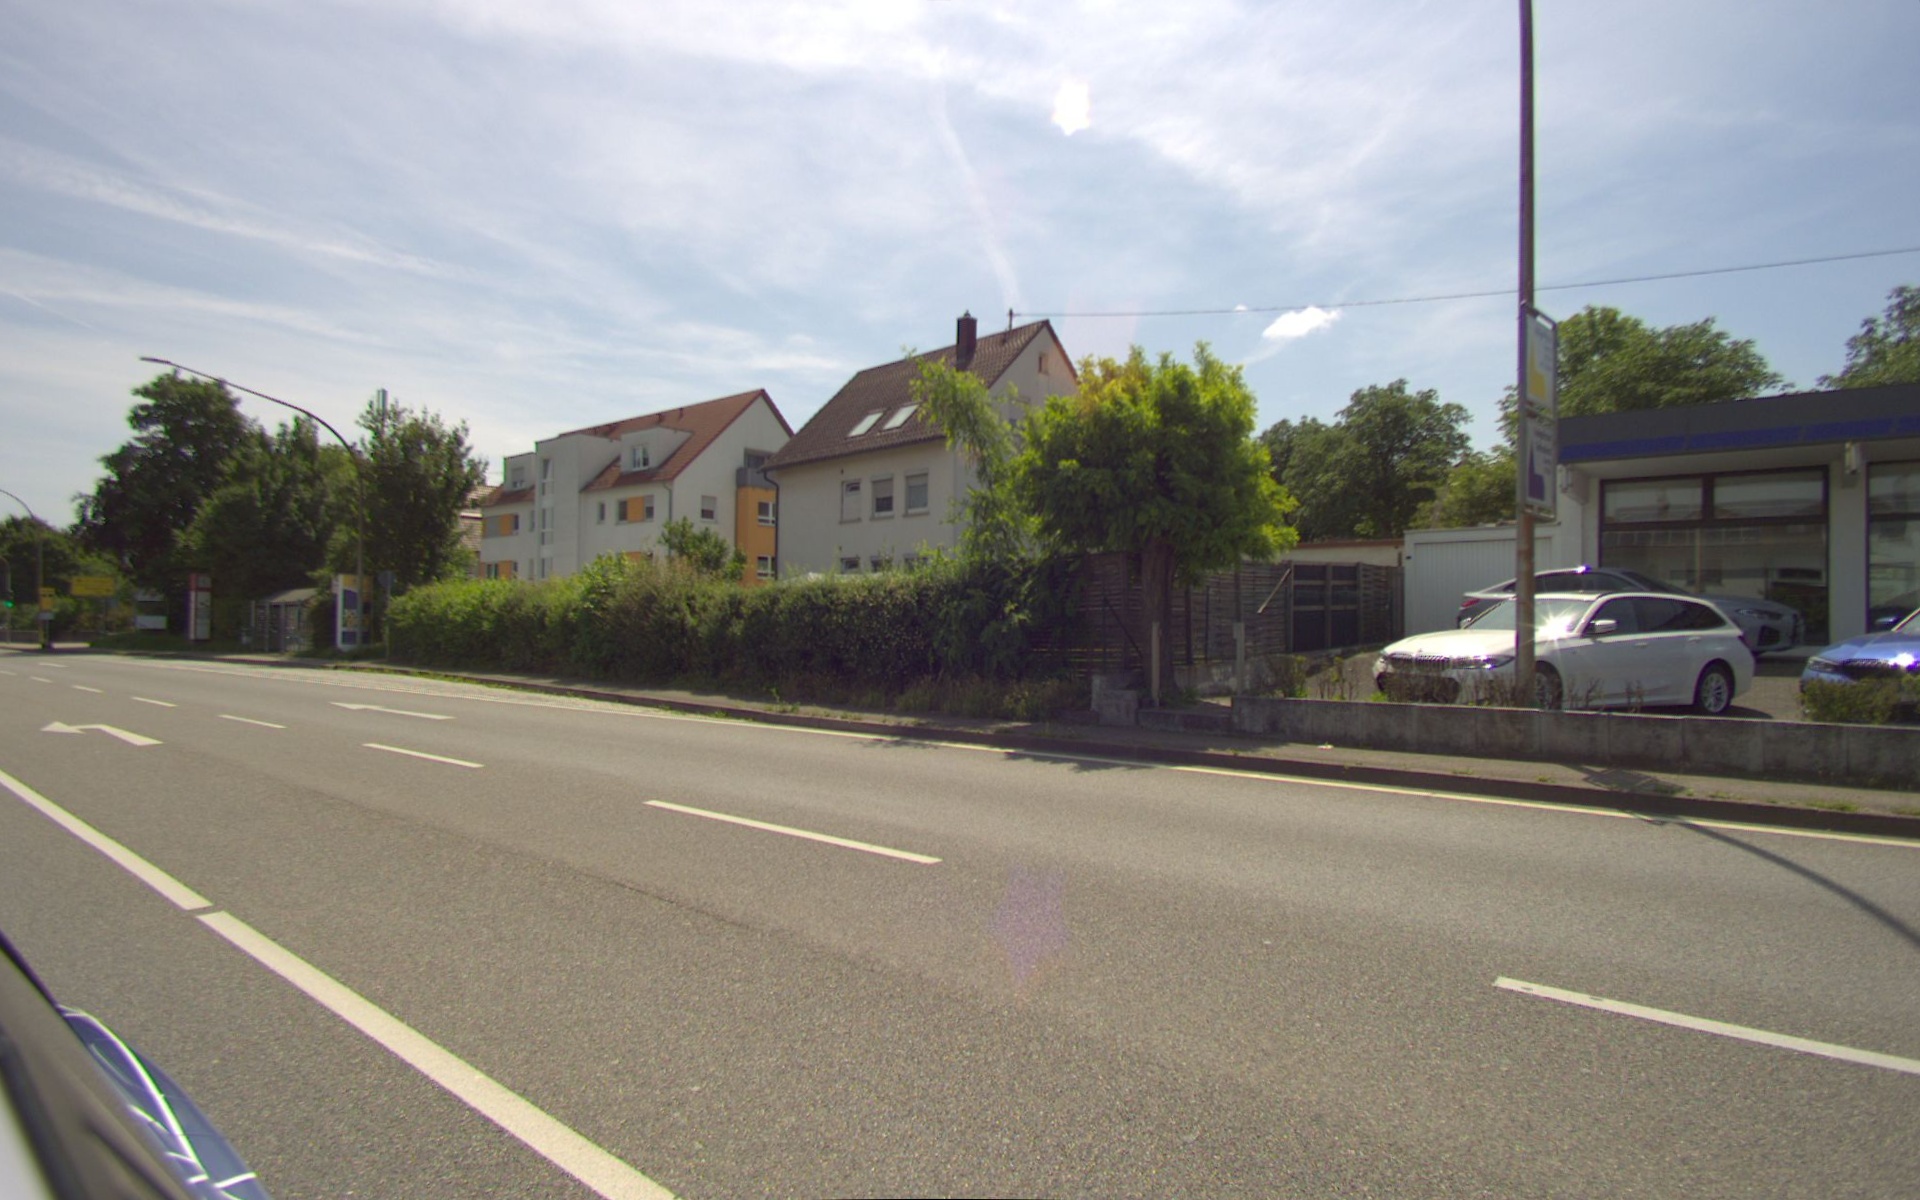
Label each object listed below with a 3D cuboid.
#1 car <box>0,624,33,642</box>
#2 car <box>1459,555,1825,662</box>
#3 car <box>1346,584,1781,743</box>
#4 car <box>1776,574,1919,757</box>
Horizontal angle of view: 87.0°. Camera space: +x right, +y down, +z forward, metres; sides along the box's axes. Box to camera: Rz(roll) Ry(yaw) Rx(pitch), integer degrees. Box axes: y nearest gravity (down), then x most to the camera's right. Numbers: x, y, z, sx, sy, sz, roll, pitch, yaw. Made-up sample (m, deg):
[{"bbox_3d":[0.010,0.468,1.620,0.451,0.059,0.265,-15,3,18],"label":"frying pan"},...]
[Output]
[{"bbox_3d":[-104.589,3.631,111.062,1.996,1.783,3.951,0,1,36],"label":"car"},{"bbox_3d":[10.832,0.145,16.403,1.781,1.475,4.589,-1,0,-39],"label":"car"},{"bbox_3d":[6.932,0.613,11.659,4.501,1.458,1.863,-2,1,-20],"label":"car"},{"bbox_3d":[9.601,0.487,8.884,4.267,1.458,1.863,-1,1,-20],"label":"car"}]
